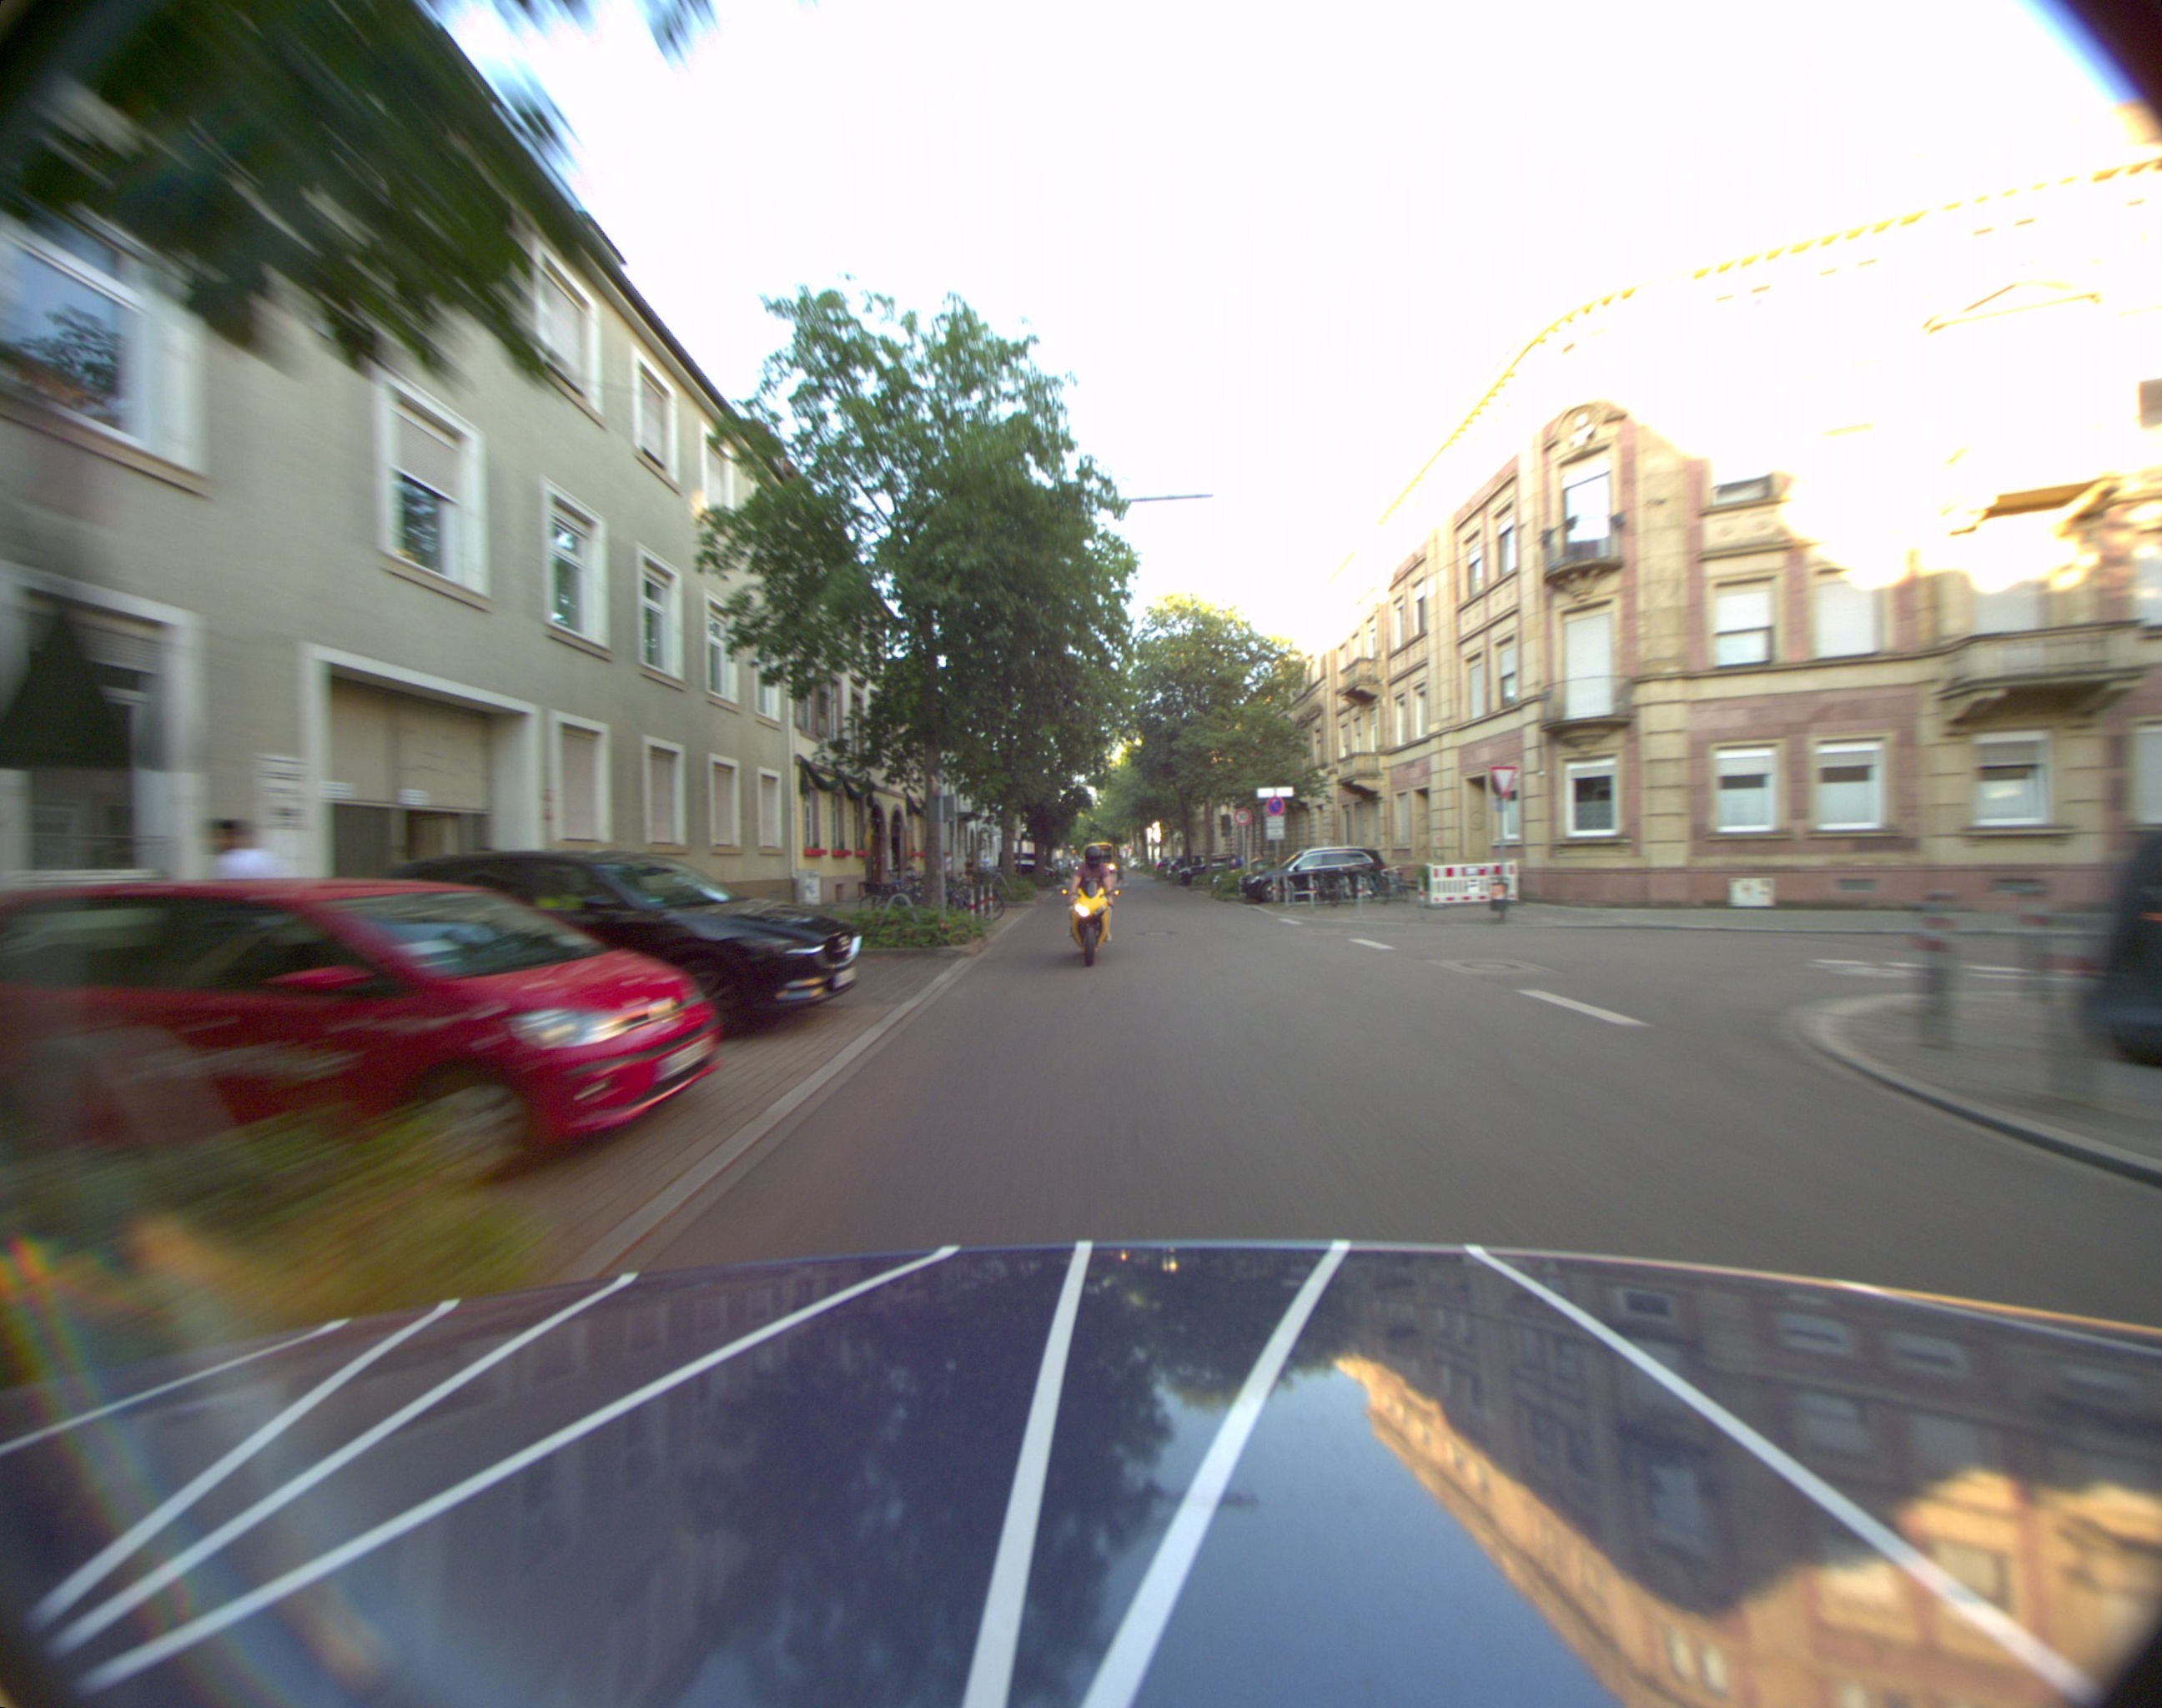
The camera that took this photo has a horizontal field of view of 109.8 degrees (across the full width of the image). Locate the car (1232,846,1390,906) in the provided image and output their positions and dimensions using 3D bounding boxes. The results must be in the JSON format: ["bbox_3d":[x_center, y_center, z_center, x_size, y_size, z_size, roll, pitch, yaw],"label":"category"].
[{"bbox_3d":[7.254,0.690,24.274,4.436,1.641,1.873,-3,-1,2],"label":"car"}]

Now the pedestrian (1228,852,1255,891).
[{"bbox_3d":[7.175,0.760,33.966,0.833,1.727,0.795,-1,0,-32],"label":"pedestrian"}]

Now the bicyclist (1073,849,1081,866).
[{"bbox_3d":[-0.391,0.302,70.767,0.637,1.551,0.818,-3,0,-4],"label":"bicyclist"}]

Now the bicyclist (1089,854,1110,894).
[{"bbox_3d":[0.658,0.707,26.757,0.674,1.355,0.776,-3,0,1],"label":"bicyclist"}]

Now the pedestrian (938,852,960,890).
[{"bbox_3d":[-6.140,0.784,35.414,0.712,1.728,0.749,1,-1,21],"label":"pedestrian"}]

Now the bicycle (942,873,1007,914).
[{"bbox_3d":[-3.151,1.164,22.533,1.834,1.171,0.673,0,0,0],"label":"bicycle"}]

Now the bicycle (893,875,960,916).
[{"bbox_3d":[-4.373,1.175,21.644,1.799,1.122,0.664,0,0,-5],"label":"bicycle"}]

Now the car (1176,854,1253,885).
[{"bbox_3d":[7.266,0.851,41.635,3.954,1.523,1.908,-2,0,3],"label":"car"}]

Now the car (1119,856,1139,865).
[{"bbox_3d":[10.106,1.343,160.067,3.999,1.940,1.999,-1,0,-7],"label":"car"}]

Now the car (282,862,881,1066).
[{"bbox_3d":[-4.382,0.922,7.188,4.436,1.646,1.900,-1,0,2],"label":"car"}]

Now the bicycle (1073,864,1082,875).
[{"bbox_3d":[-0.327,1.487,70.780,0.637,0.977,1.981,-3,-1,-4],"label":"bicycle"}]

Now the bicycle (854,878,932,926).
[{"bbox_3d":[-4.615,1.162,18.774,1.800,1.136,0.668,0,0,-8],"label":"bicycle"}]

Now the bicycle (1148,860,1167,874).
[{"bbox_3d":[7.279,1.218,72.245,1.775,1.225,0.500,-2,1,6],"label":"bicycle"}]

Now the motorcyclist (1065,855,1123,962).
[{"bbox_3d":[0.187,0.731,10.514,0.737,1.404,0.726,-2,0,2],"label":"motorcyclist"}]

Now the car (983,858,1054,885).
[{"bbox_3d":[-3.666,1.032,45.235,3.997,1.429,1.926,2,0,-1],"label":"car"}]

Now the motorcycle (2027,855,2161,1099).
[{"bbox_3d":[7.653,0.745,5.093,2.217,1.473,0.858,-2,-1,-17],"label":"motorcycle"}]

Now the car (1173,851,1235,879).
[{"bbox_3d":[8.196,0.729,50.917,3.810,1.662,1.714,-3,-1,0],"label":"car"}]

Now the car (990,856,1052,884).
[{"bbox_3d":[-3.753,1.012,47.868,3.689,1.569,1.714,2,0,2],"label":"car"}]

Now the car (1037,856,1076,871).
[{"bbox_3d":[-2.611,1.021,81.927,4.119,1.608,1.961,-1,0,2],"label":"car"}]

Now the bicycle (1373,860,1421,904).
[{"bbox_3d":[8.823,0.756,21.285,0.518,1.101,1.861,-4,2,1],"label":"bicycle"}]

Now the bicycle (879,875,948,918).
[{"bbox_3d":[-4.578,1.164,20.830,1.800,1.136,0.651,0,0,-8],"label":"bicycle"}]

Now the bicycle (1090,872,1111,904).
[{"bbox_3d":[0.693,1.192,26.736,0.674,1.024,1.977,-3,0,1],"label":"bicycle"}]

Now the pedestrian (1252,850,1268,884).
[{"bbox_3d":[9.398,0.678,39.921,0.736,1.729,0.671,-2,0,7],"label":"pedestrian"}]

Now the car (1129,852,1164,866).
[{"bbox_3d":[8.083,0.598,93.761,4.180,1.548,1.827,-2,0,4],"label":"car"}]

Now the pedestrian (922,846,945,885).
[{"bbox_3d":[-6.754,0.525,34.787,0.725,1.728,0.746,0,-1,28],"label":"pedestrian"}]

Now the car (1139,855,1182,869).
[{"bbox_3d":[8.708,0.854,83.439,4.524,1.382,1.916,-2,0,2],"label":"car"}]

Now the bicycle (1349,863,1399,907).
[{"bbox_3d":[8.149,0.837,21.206,0.670,1.057,1.861,-4,2,1],"label":"bicycle"}]

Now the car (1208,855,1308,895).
[{"bbox_3d":[7.340,0.866,31.739,3.701,1.449,1.873,-3,-1,0],"label":"car"}]

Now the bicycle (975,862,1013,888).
[{"bbox_3d":[-4.251,1.043,37.288,1.800,1.225,0.673,2,0,-8],"label":"bicycle"}]

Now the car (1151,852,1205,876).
[{"bbox_3d":[7.726,0.800,60.859,3.975,1.587,1.781,-5,0,1],"label":"car"}]

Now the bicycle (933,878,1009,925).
[{"bbox_3d":[-2.747,1.168,18.993,1.843,1.129,0.744,0,0,-9],"label":"bicycle"}]

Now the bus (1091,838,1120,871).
[{"bbox_3d":[2.535,0.108,81.533,2.668,3.175,11.899,-3,0,1],"label":"bus"}]

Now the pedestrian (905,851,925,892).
[{"bbox_3d":[-7.154,0.764,32.781,0.779,1.728,0.683,1,-1,-15],"label":"pedestrian"}]

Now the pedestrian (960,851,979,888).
[{"bbox_3d":[-5.281,0.731,35.948,0.707,1.728,0.727,1,-1,4],"label":"pedestrian"}]

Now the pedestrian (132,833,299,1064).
[{"bbox_3d":[-6.940,0.706,6.139,0.693,1.727,0.672,-1,0,-30],"label":"pedestrian"}]

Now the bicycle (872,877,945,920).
[{"bbox_3d":[-4.521,1.172,19.978,1.799,1.101,0.500,0,0,-4],"label":"bicycle"}]

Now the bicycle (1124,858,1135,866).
[{"bbox_3d":[7.866,1.342,122.671,0.805,1.217,2.422,-5,-3,25],"label":"bicycle"}]

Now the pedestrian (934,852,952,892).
[{"bbox_3d":[-6.022,0.772,33.215,0.616,1.728,0.623,1,-1,1],"label":"pedestrian"}]

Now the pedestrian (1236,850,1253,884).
[{"bbox_3d":[8.533,0.696,39.666,0.736,1.729,0.671,-2,0,7],"label":"pedestrian"}]

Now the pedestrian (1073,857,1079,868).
[{"bbox_3d":[-0.748,1.203,106.442,0.600,1.502,0.719,1,0,-28],"label":"pedestrian"}]

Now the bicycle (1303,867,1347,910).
[{"bbox_3d":[6.790,0.937,21.226,0.523,1.053,1.861,-4,2,-1],"label":"bicycle"}]

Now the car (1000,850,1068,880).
[{"bbox_3d":[-3.375,0.803,55.281,4.701,1.999,2.037,2,0,0],"label":"car"}]

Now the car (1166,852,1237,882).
[{"bbox_3d":[7.629,0.817,48.333,4.211,1.662,1.908,-3,-1,1],"label":"car"}]

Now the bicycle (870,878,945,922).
[{"bbox_3d":[-4.427,1.176,19.456,1.799,1.101,0.500,0,0,-4],"label":"bicycle"}]

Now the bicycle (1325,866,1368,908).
[{"bbox_3d":[7.405,0.908,21.246,0.523,1.013,1.861,-4,2,1],"label":"bicycle"}]

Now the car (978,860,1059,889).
[{"bbox_3d":[-3.473,1.145,42.750,4.412,1.385,1.885,2,0,-1],"label":"car"}]

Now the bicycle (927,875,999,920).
[{"bbox_3d":[-3.147,1.151,20.328,1.834,1.171,0.601,0,0,0],"label":"bicycle"}]

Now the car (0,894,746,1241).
[{"bbox_3d":[-4.073,0.998,4.326,3.492,1.444,1.899,0,0,-1],"label":"car"}]

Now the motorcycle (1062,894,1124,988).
[{"bbox_3d":[0.192,1.140,10.462,0.737,1.053,1.964,-2,0,2],"label":"motorcycle"}]

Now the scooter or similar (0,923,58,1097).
[{"bbox_3d":[-7.622,1.067,4.995,0.656,1.146,0.831,0,0,2],"label":"scooter or similar"}]

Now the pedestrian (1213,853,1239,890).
[{"bbox_3d":[6.632,0.775,34.809,0.833,1.661,0.795,-1,0,-32],"label":"pedestrian"}]
